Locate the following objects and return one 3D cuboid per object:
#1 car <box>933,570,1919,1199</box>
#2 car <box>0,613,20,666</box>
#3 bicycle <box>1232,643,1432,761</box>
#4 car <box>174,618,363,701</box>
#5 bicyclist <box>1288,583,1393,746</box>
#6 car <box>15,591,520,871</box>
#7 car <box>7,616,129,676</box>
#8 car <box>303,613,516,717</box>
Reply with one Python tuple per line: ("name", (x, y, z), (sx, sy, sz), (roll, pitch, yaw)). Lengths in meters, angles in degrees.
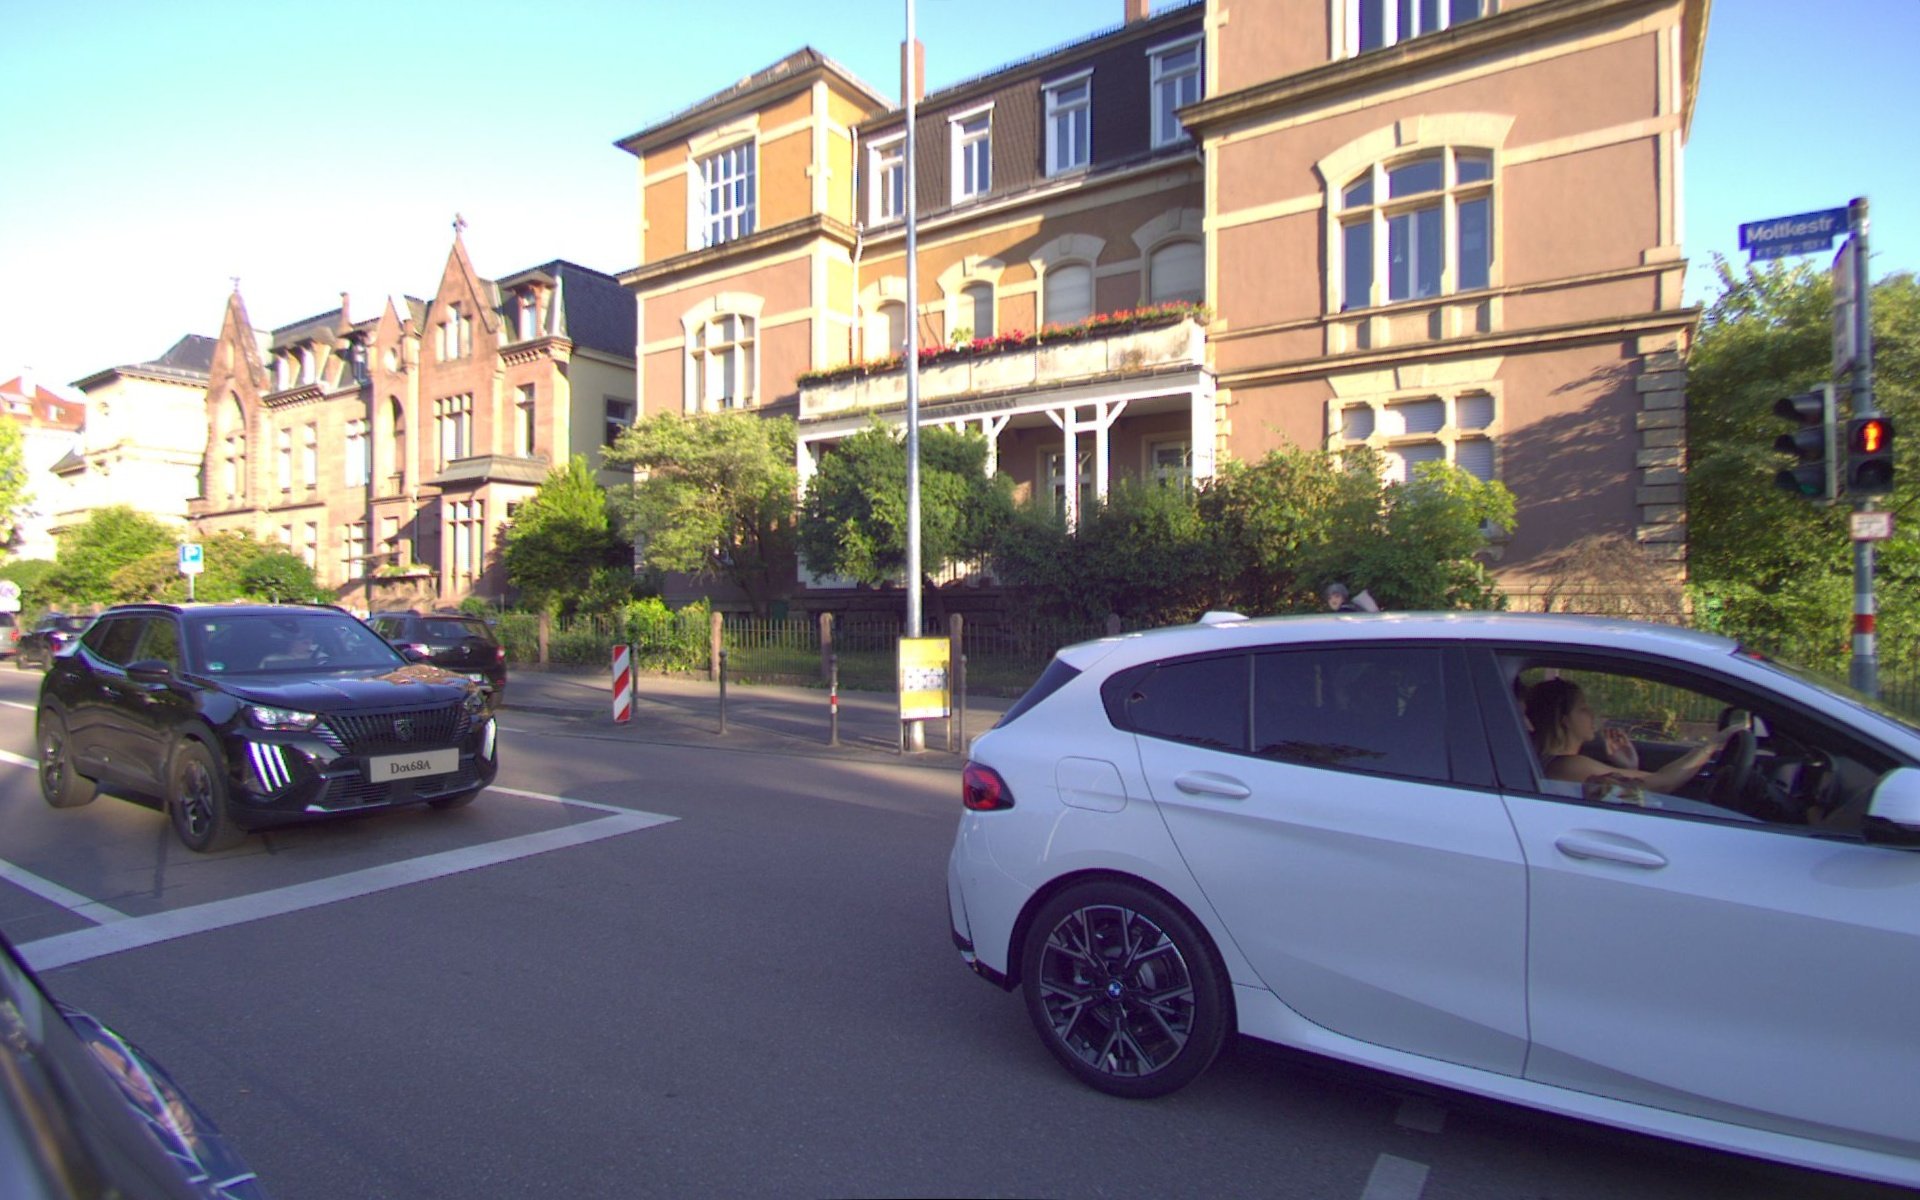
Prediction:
("car", (2.128, 0.693, 2.954), (4.175, 1.477, 1.738), (-1, -1, 32))
("car", (-31.088, 1.213, 31.544), (3.741, 1.601, 1.698), (-1, -2, 32))
("bicycle", (3.942, 1.040, 10.793), (1.898, 1.097, 0.653), (-1, 1, 34))
("car", (-13.566, 1.117, 19.765), (4.423, 1.454, 1.590), (-1, -4, 36))
("bicyclist", (4.033, 0.647, 10.720), (0.912, 1.645, 0.645), (0, 1, 34))
("car", (-5.162, 0.757, 7.405), (3.988, 1.547, 1.665), (-1, -1, 33))
("car", (-23.344, 1.162, 26.465), (3.559, 1.456, 1.613), (-1, -2, 36))
("car", (-9.202, 1.034, 16.849), (3.715, 1.546, 1.613), (-1, -4, 36))
